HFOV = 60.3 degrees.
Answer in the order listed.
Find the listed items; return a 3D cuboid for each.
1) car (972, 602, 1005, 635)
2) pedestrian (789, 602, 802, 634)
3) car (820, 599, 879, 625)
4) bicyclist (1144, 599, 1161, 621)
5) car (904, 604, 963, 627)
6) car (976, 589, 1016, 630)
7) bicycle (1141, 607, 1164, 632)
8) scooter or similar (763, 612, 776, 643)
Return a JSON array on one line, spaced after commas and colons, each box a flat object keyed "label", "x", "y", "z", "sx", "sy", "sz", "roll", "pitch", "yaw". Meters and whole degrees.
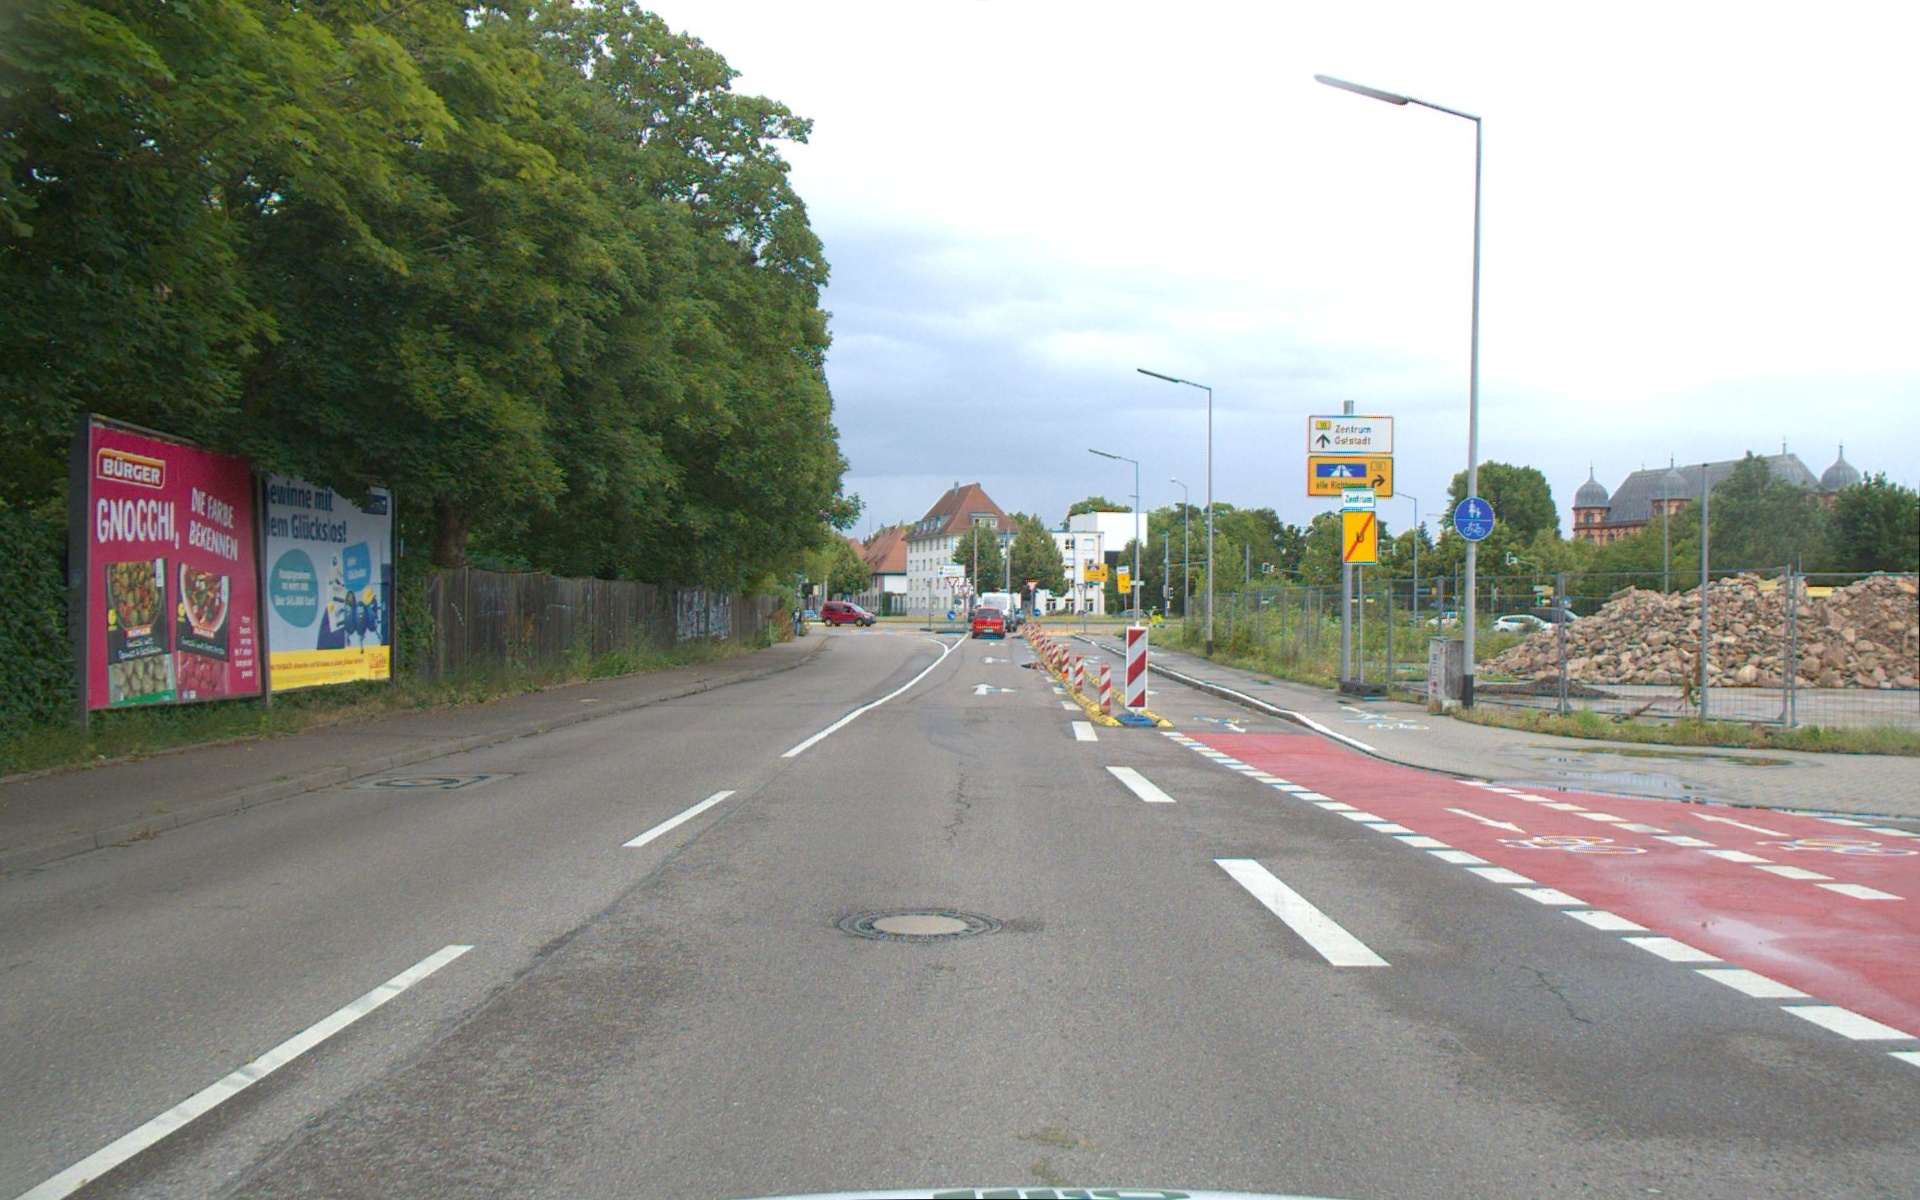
[{"label": "car", "x": 1.497, "y": 0.948, "z": 86.399, "sx": 1.639, "sy": 1.669, "sz": 3.628, "roll": 1, "pitch": 0, "yaw": 1}, {"label": "pedestrian", "x": -8.077, "y": 0.883, "z": 81.165, "sx": 0.600, "sy": 1.556, "sz": 0.723, "roll": 0, "pitch": -1, "yaw": -3}, {"label": "car", "x": -8.488, "y": 0.902, "z": 127.178, "sx": 4.105, "sy": 1.951, "sz": 2.117, "roll": 0, "pitch": 0, "yaw": 12}, {"label": "bicyclist", "x": 12.239, "y": 0.636, "z": 105.364, "sx": 1.039, "sy": 1.426, "sz": 0.615, "roll": 0, "pitch": -1, "yaw": 4}, {"label": "car", "x": -2.108, "y": 1.207, "z": 130.941, "sx": 4.530, "sy": 1.827, "sz": 2.101, "roll": 0, "pitch": 0, "yaw": 44}, {"label": "car", "x": 2.414, "y": 0.623, "z": 109.808, "sx": 2.148, "sy": 2.584, "sz": 4.966, "roll": 1, "pitch": 0, "yaw": 7}, {"label": "bicycle", "x": 12.269, "y": 1.242, "z": 105.361, "sx": 1.446, "sy": 1.640, "sz": 0.606, "roll": 0, "pitch": -1, "yaw": 4}, {"label": "scooter or similar", "x": -7.319, "y": 1.050, "z": 63.537, "sx": 0.414, "sy": 1.191, "sz": 1.302, "roll": 0, "pitch": 0, "yaw": -4}]
